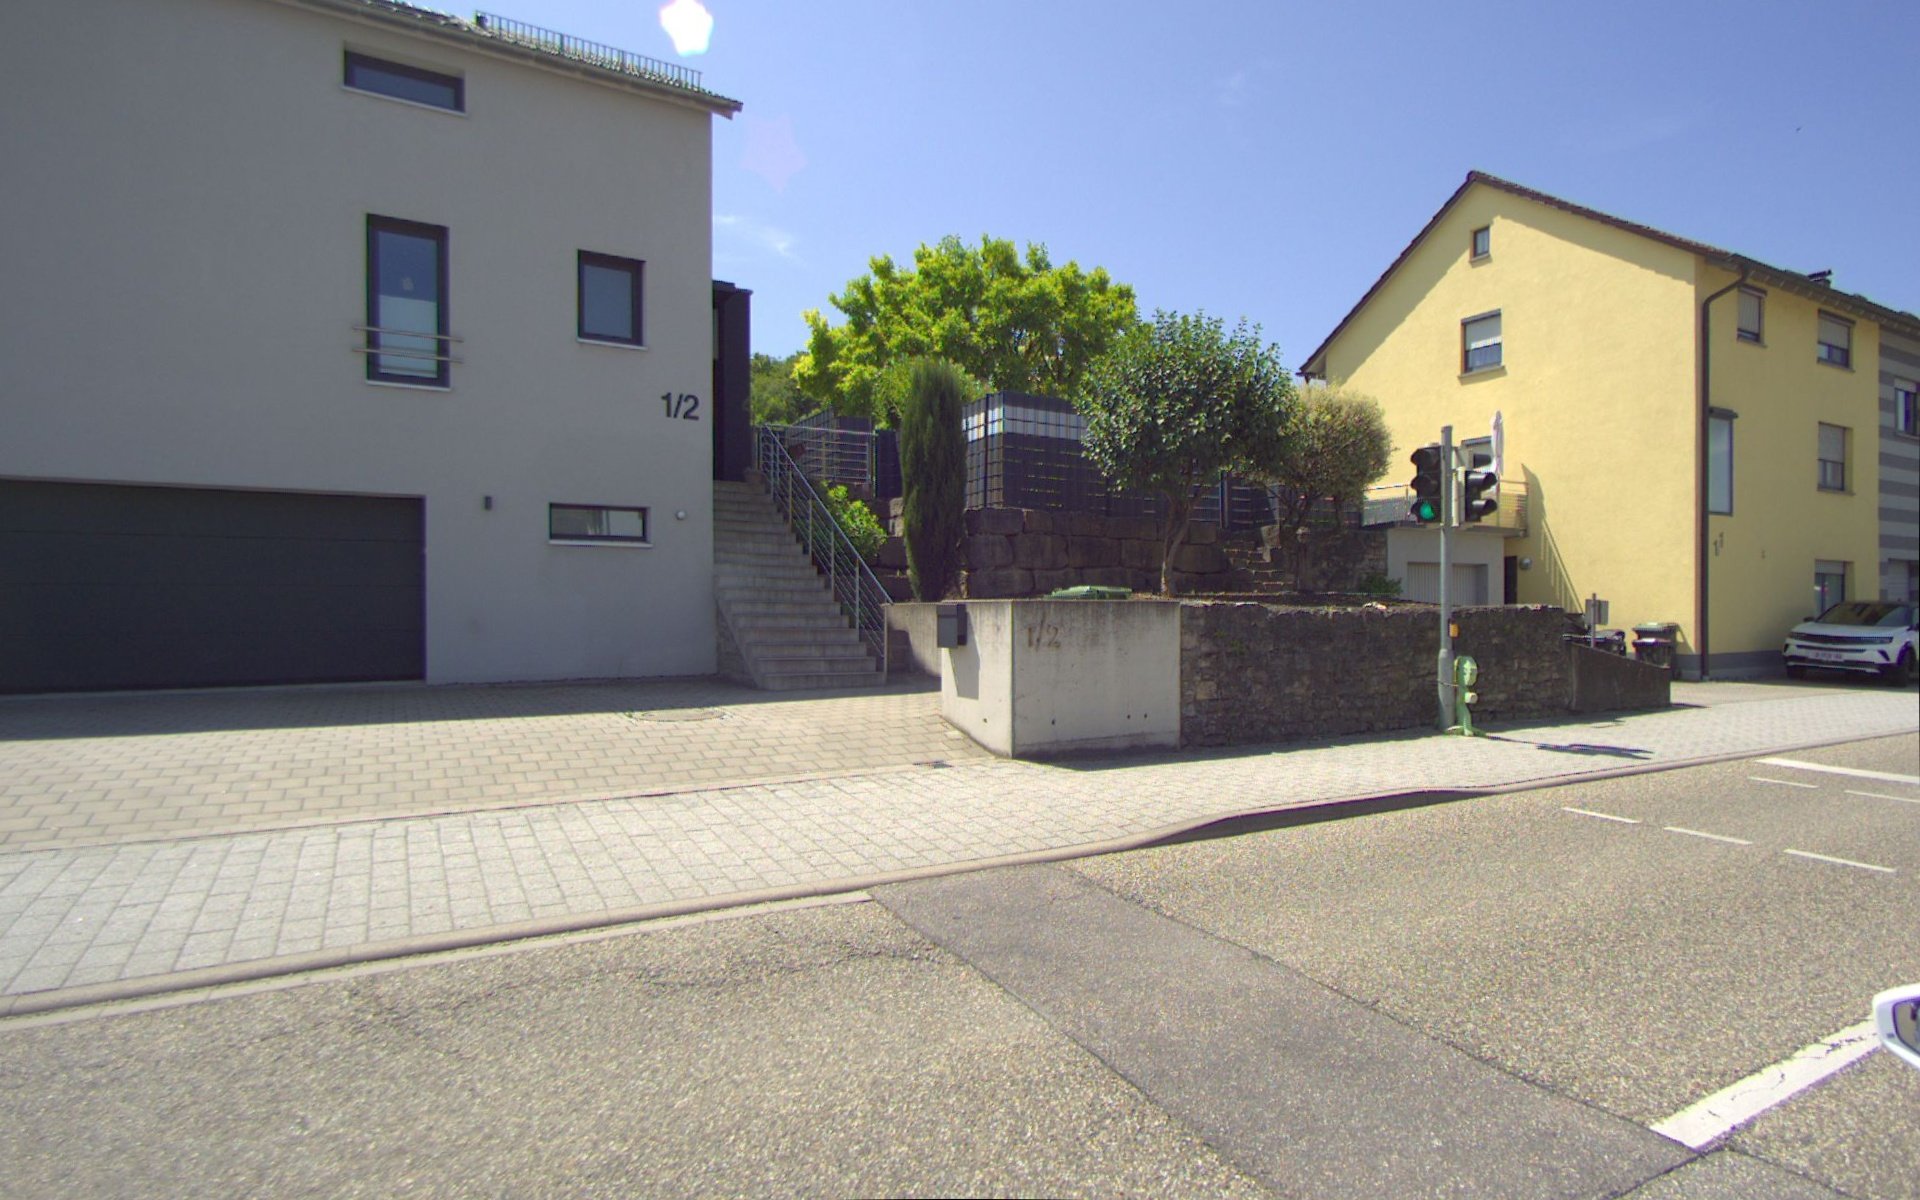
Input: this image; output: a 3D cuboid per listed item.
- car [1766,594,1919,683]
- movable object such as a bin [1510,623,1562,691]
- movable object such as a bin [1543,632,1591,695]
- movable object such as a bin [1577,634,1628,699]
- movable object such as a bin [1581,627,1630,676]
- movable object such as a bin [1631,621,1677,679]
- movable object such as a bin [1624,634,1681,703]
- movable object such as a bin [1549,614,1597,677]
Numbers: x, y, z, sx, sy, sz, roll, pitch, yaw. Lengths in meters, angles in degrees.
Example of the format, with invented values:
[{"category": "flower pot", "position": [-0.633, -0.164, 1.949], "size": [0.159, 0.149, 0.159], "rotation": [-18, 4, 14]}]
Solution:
[{"category": "car", "position": [17.705, 0.698, 19.565], "size": [4.138, 1.573, 1.722], "rotation": [1, 0, -30]}, {"category": "movable object such as a bin", "position": [9.342, 0.908, 16.296], "size": [0.627, 1.069, 0.468], "rotation": [1, 1, -31]}, {"category": "movable object such as a bin", "position": [9.562, 0.990, 15.814], "size": [0.525, 0.950, 0.444], "rotation": [1, 0, -31]}, {"category": "movable object such as a bin", "position": [9.840, 1.008, 15.385], "size": [0.555, 0.941, 0.444], "rotation": [1, 1, -31]}, {"category": "movable object such as a bin", "position": [12.435, 0.983, 19.352], "size": [0.601, 0.922, 0.594], "rotation": [1, 0, -31]}, {"category": "movable object such as a bin", "position": [13.037, 0.929, 18.871], "size": [0.601, 1.057, 0.498], "rotation": [1, 0, -31]}, {"category": "movable object such as a bin", "position": [10.177, 0.996, 14.770], "size": [0.547, 0.961, 0.498], "rotation": [1, 1, -31]}, {"category": "movable object such as a bin", "position": [12.196, 0.890, 19.995], "size": [0.687, 1.212, 0.549], "rotation": [1, 0, -31]}]
